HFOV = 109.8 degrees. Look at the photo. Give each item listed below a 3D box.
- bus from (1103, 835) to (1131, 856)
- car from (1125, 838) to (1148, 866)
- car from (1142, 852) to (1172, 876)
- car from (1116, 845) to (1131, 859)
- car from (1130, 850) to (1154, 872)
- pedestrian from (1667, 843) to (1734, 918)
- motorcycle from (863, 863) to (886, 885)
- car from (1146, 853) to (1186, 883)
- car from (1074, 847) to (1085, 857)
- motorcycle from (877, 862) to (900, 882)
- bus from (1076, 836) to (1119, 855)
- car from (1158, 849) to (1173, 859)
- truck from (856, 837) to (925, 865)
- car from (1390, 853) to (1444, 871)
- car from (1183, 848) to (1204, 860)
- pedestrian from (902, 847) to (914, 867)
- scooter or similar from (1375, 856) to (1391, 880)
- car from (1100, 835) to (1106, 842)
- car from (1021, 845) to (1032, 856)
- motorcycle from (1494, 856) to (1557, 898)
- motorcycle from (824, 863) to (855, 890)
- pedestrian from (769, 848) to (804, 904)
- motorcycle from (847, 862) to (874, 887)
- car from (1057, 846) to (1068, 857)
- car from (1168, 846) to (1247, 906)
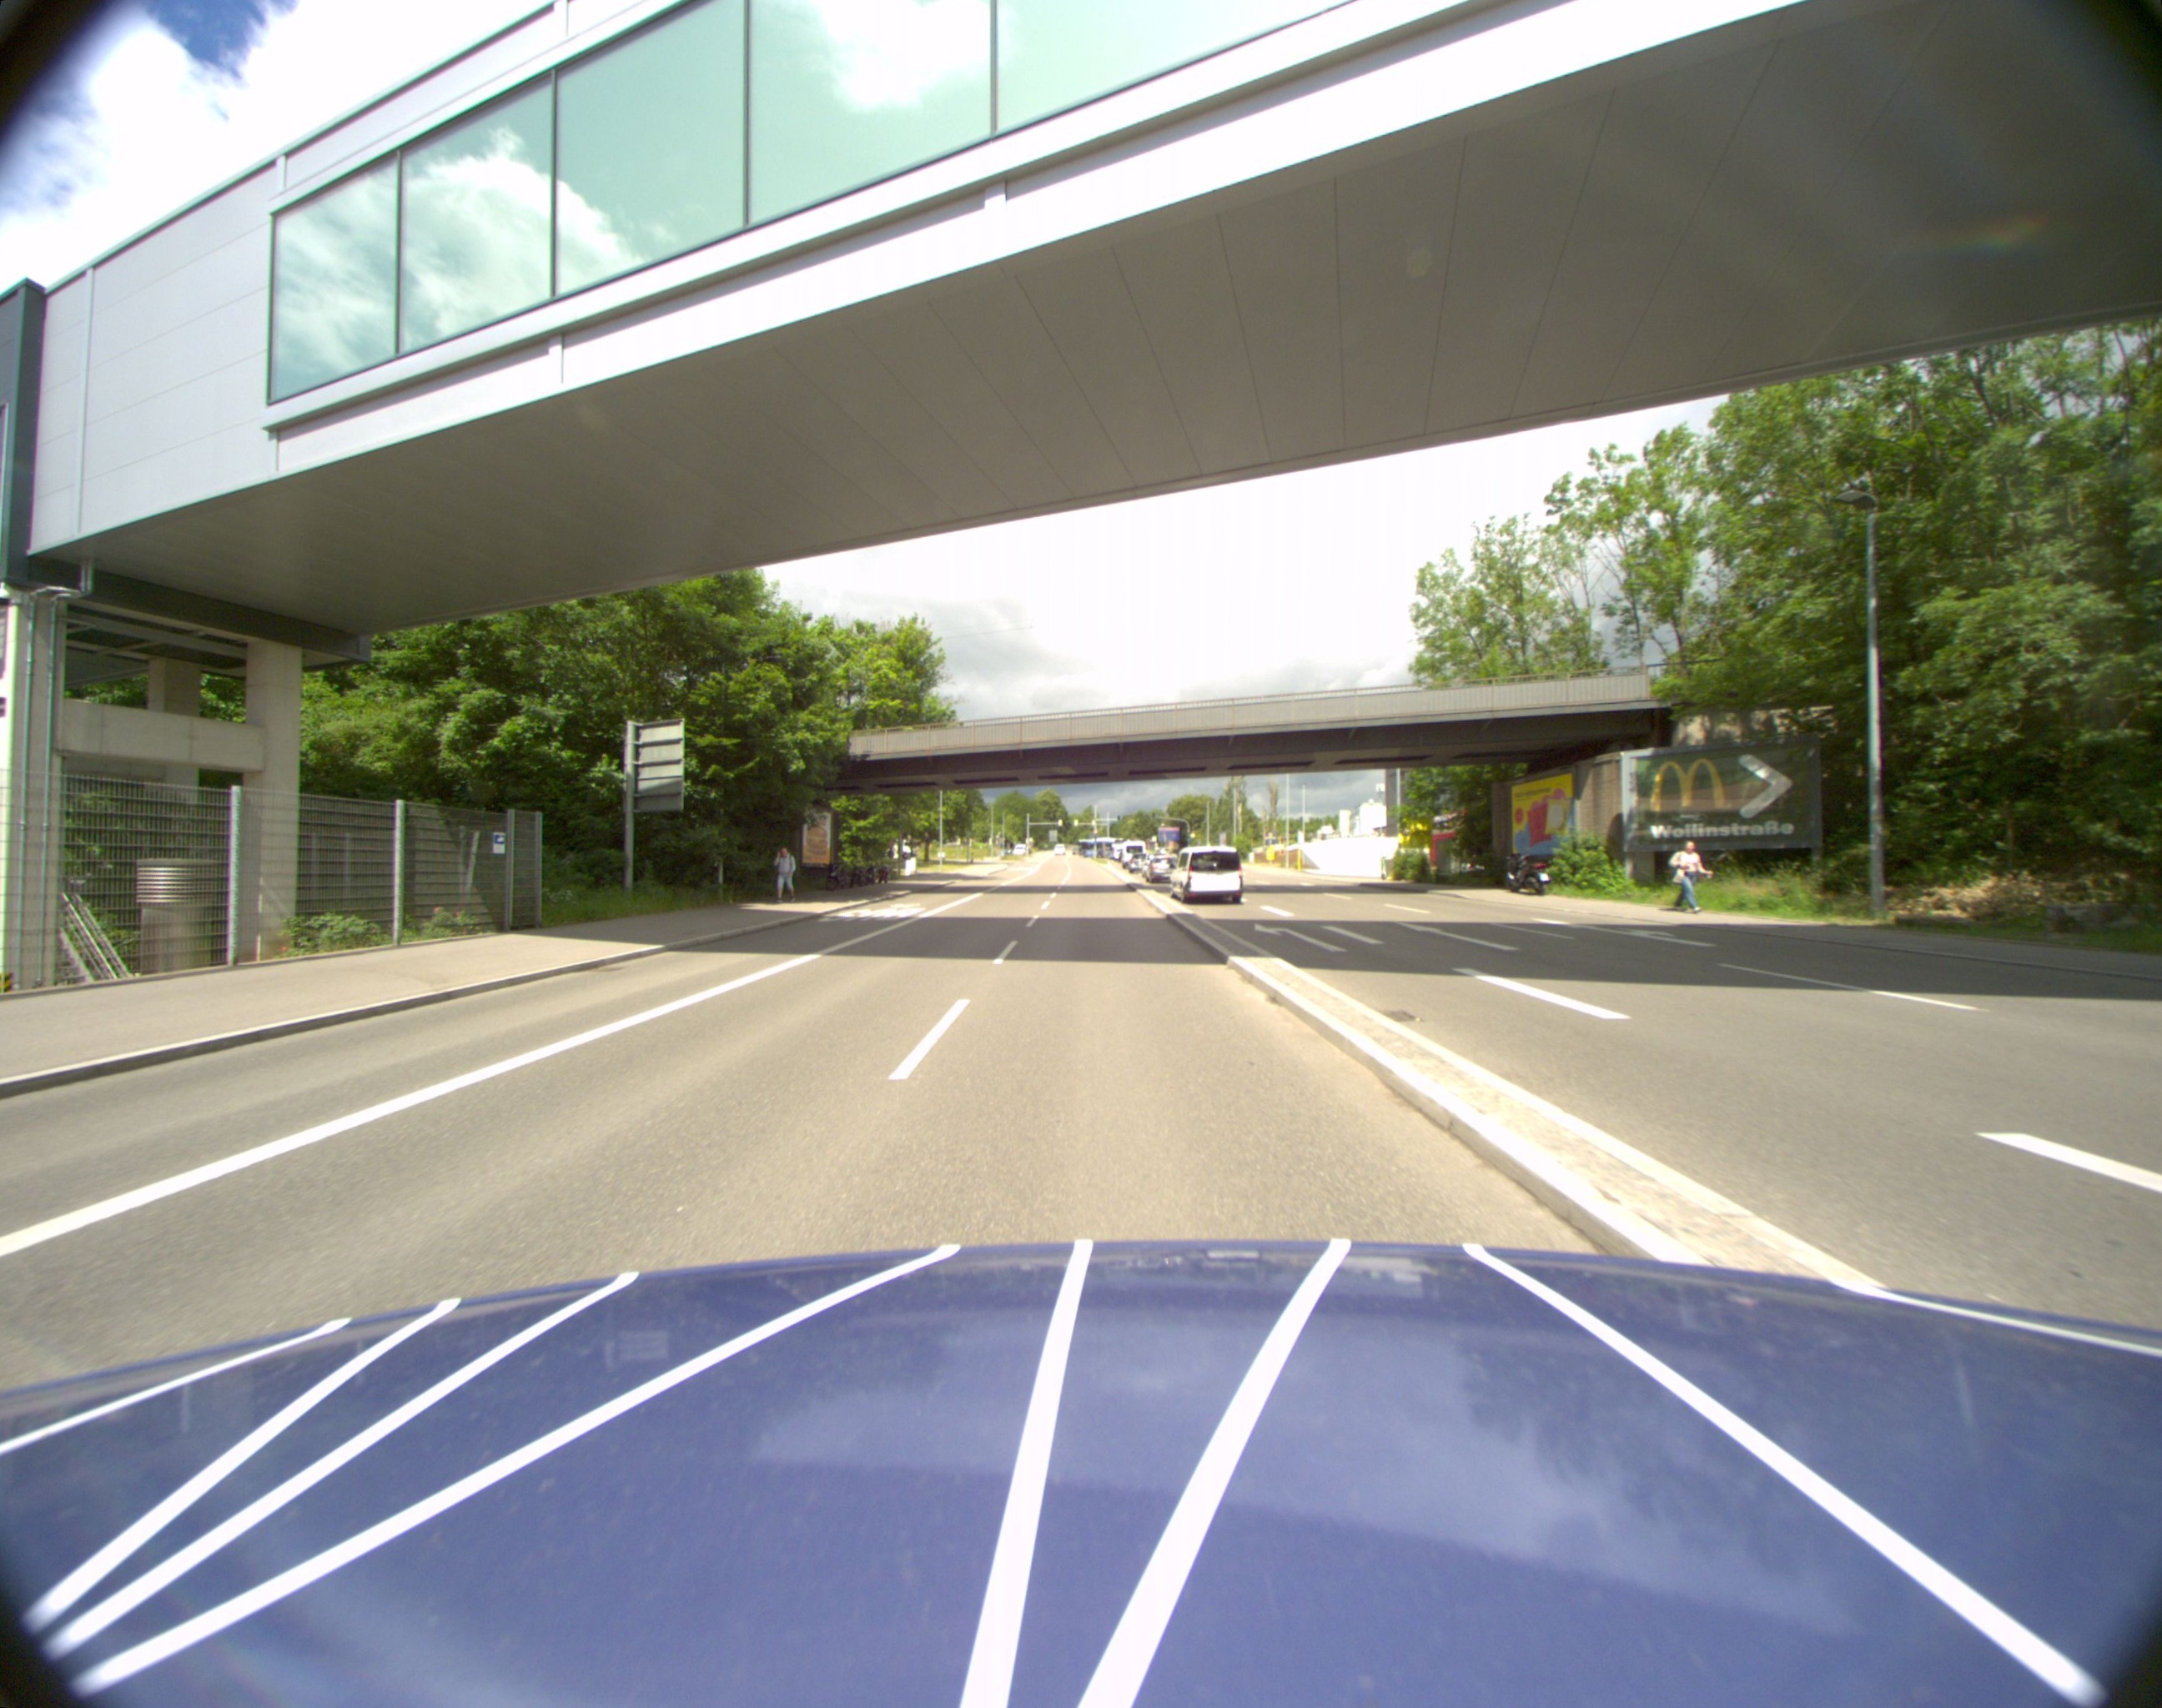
[{"bbox_3d":[5.484,-1.340,116.504,2.652,2.929,8.530,-2,1,-8],"label":"bus"},{"bbox_3d":[5.188,-0.177,71.053,2.045,2.458,5.573,-1,0,4],"label":"car"},{"bbox_3d":[4.838,0.610,48.541,1.509,1.480,3.115,-1,0,-1],"label":"car"},{"bbox_3d":[5.816,-0.280,104.323,1.827,1.796,4.255,-2,0,0],"label":"car"},{"bbox_3d":[4.597,0.513,57.266,1.572,1.522,2.738,-1,0,0],"label":"car"},{"bbox_3d":[13.843,0.575,16.989,0.769,1.602,0.813,-3,1,0],"label":"pedestrian"},{"bbox_3d":[-10.653,1.012,39.263,0.679,1.076,2.038,0,0,0],"label":"motorcycle"},{"bbox_3d":[4.460,0.703,40.474,1.713,1.480,3.983,0,0,0],"label":"car"},{"bbox_3d":[-0.229,-0.354,149.849,1.998,2.002,4.000,-1,0,1],"label":"car"},{"bbox_3d":[-10.599,0.977,41.866,0.679,1.076,2.180,0,0,0],"label":"motorcycle"},{"bbox_3d":[2.629,-1.364,124.559,2.655,2.919,9.765,-3,1,-28],"label":"bus"},{"bbox_3d":[12.543,0.044,112.667,1.998,1.478,4.000,0,0,3],"label":"car"},{"bbox_3d":[-29.734,-0.464,118.561,10.070,3.981,2.791,-1,0,11],"label":"truck"},{"bbox_3d":[30.588,0.682,69.257,3.997,1.608,1.959,0,0,-1],"label":"car"},{"bbox_3d":[12.903,-0.006,87.645,1.998,1.346,4.000,0,0,3],"label":"car"},{"bbox_3d":[-15.775,0.249,69.269,0.952,1.801,0.717,0,1,-22],"label":"pedestrian"},{"bbox_3d":[14.821,0.676,37.320,0.477,1.114,1.385,0,0,12],"label":"scooter or similar"},{"bbox_3d":[7.261,-5.103,250.668,1.998,2.002,4.000,-1,0,1],"label":"car"},{"bbox_3d":[-9.979,-0.640,139.036,1.999,1.888,4.081,0,1,-3],"label":"car"},{"bbox_3d":[13.884,0.695,23.812,0.641,1.191,2.257,-3,1,0],"label":"motorcycle"},{"bbox_3d":[-10.917,1.003,34.451,0.679,1.148,2.113,0,0,2],"label":"motorcycle"},{"bbox_3d":[-10.219,0.747,26.416,0.791,1.876,1.097,0,1,0],"label":"pedestrian"},{"bbox_3d":[-10.664,0.968,36.861,0.679,1.136,2.160,0,0,0],"label":"motorcycle"},{"bbox_3d":[-3.637,-0.479,149.691,1.999,2.267,3.998,-1,0,-5],"label":"car"},{"bbox_3d":[4.039,0.652,25.052,1.813,1.770,4.978,-1,0,1],"label":"car"}]
